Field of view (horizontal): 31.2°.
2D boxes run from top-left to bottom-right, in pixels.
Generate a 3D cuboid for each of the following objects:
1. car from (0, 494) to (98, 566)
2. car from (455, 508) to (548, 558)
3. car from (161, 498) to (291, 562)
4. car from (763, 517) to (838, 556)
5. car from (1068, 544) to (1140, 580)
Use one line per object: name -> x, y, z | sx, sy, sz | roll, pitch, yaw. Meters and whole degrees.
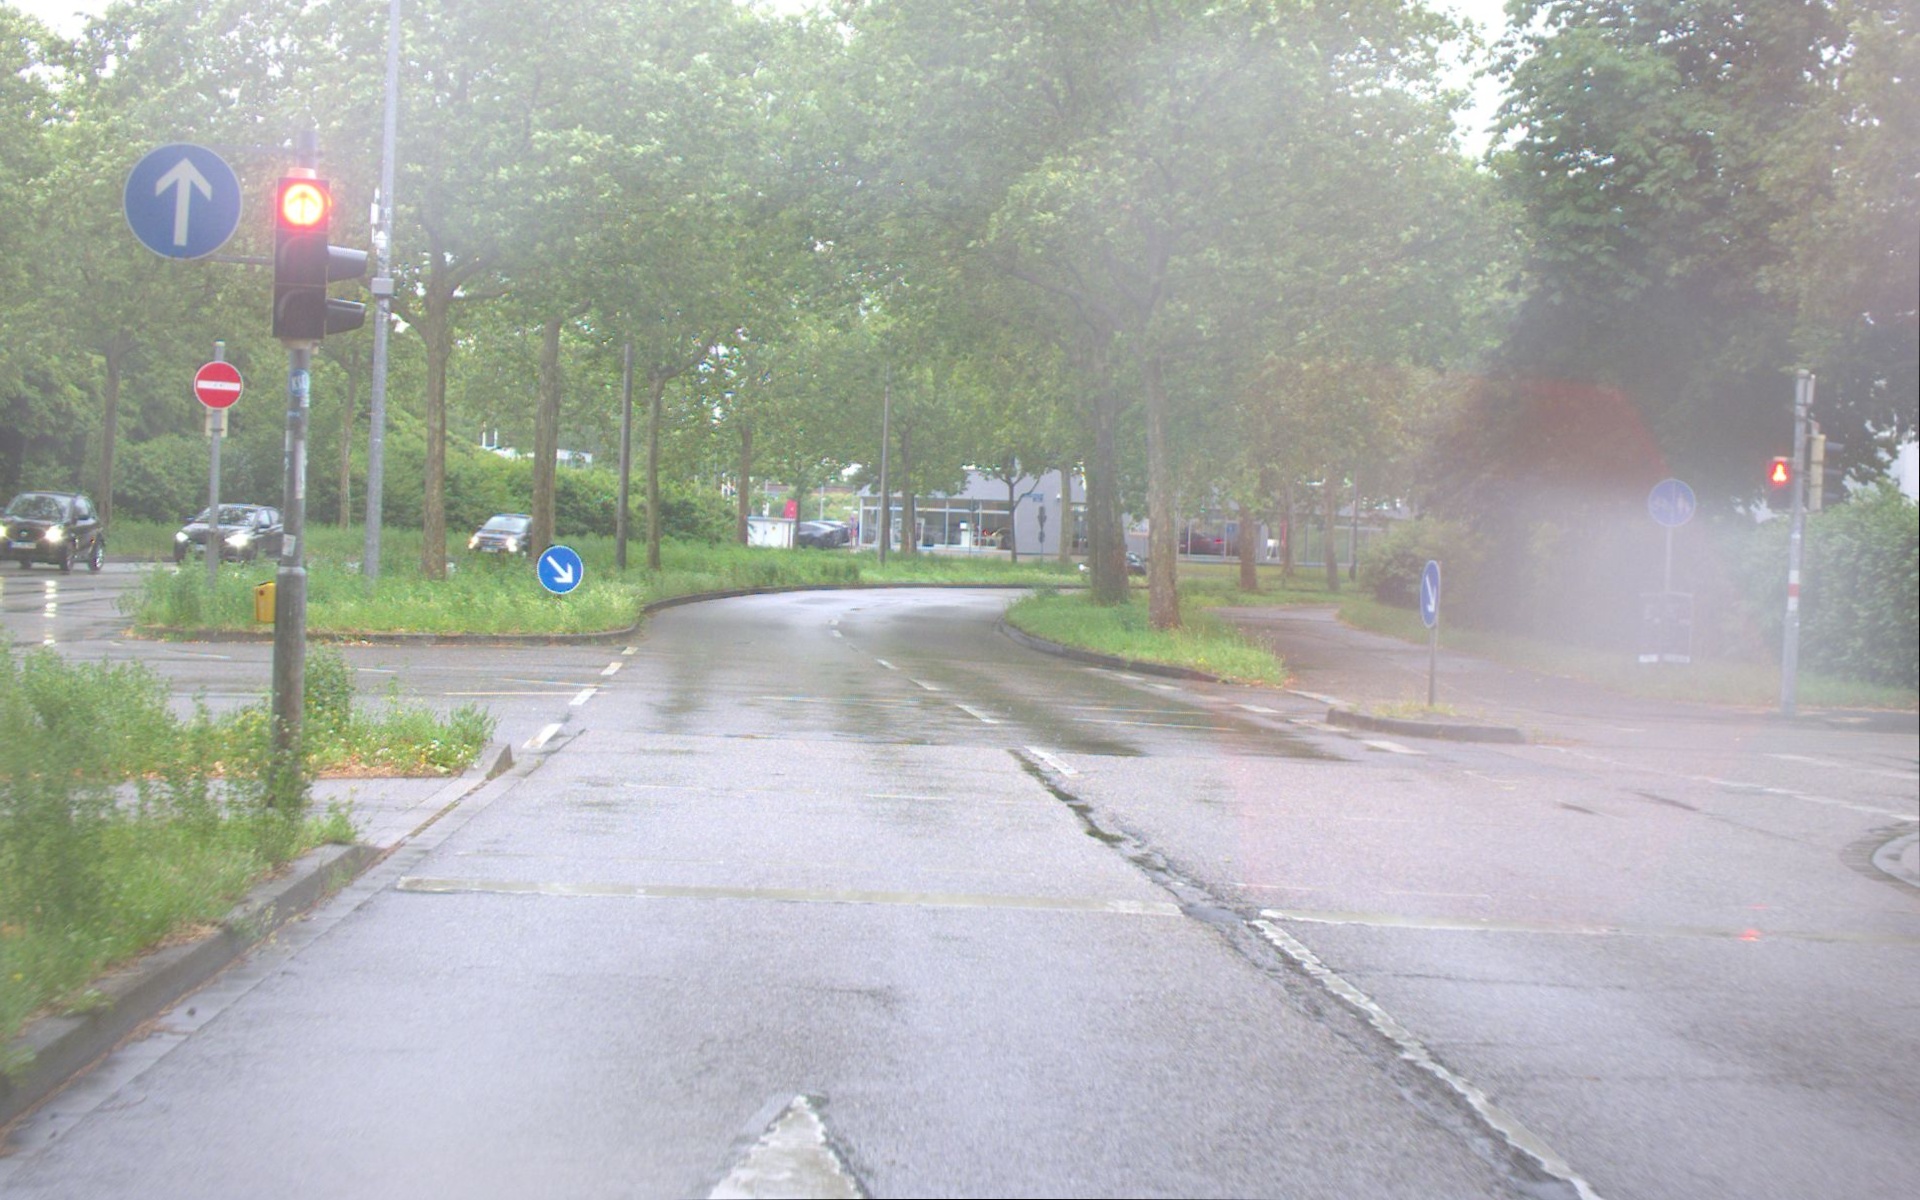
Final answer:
car -> -18.407, -1.404, 68.492 | 1.587, 1.368, 3.334 | 2, 1, 0
car -> -13.349, -1.945, 100.210 | 1.588, 1.368, 4.261 | 2, 1, 8
car -> -16.847, -1.599, 79.071 | 1.587, 1.368, 4.261 | 2, 1, 7
car -> -9.141, -3.614, 196.750 | 3.986, 2.007, 2.000 | 2, 0, -11
car -> 6.261, -1.654, 148.934 | 2.005, 1.447, 4.988 | 2, 1, 15
